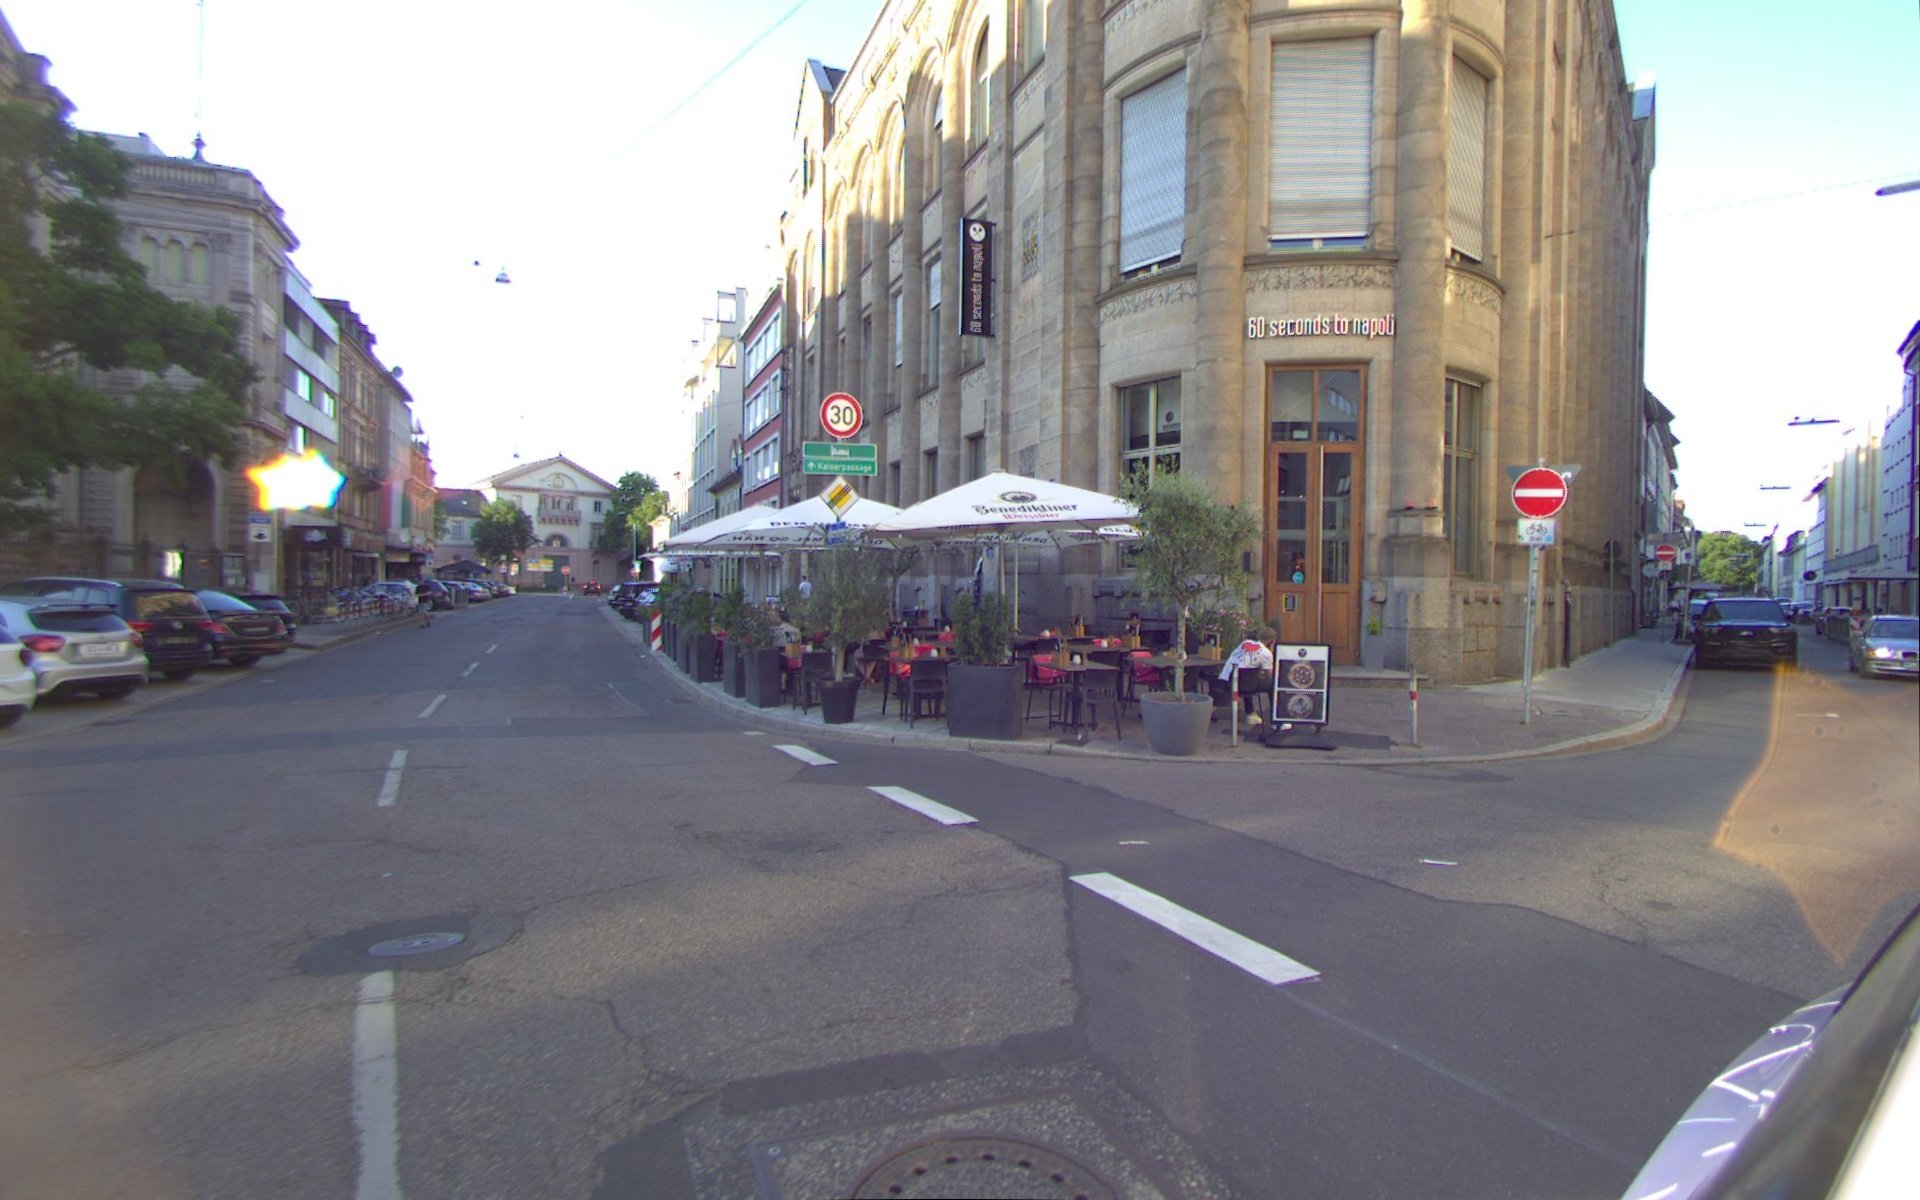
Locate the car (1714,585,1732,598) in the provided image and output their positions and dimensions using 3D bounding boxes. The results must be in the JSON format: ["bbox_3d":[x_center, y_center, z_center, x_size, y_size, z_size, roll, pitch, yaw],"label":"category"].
[{"bbox_3d":[111.037,-1.258,147.296,1.989,1.919,4.399,1,1,37],"label":"car"}]

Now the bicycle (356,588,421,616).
[{"bbox_3d":[-23.213,0.071,41.146,2.254,1.104,0.718,0,1,-25],"label":"bicycle"}]

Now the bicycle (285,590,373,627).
[{"bbox_3d":[-19.680,0.256,31.602,2.254,1.104,0.718,0,1,-25],"label":"bicycle"}]

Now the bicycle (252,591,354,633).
[{"bbox_3d":[-18.108,0.326,27.955,2.254,1.104,0.718,0,1,-25],"label":"bicycle"}]

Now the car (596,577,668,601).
[{"bbox_3d":[-20.223,-0.713,62.575,1.744,1.430,4.025,1,1,36],"label":"car"}]

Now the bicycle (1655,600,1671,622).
[{"bbox_3d":[36.052,0.551,51.878,0.518,1.103,1.729,6,4,37],"label":"bicycle"}]

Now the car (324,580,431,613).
[{"bbox_3d":[-26.054,-0.201,45.409,3.916,1.430,1.759,0,1,-20],"label":"car"}]

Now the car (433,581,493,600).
[{"bbox_3d":[-37.359,-0.736,76.192,3.916,1.430,1.759,0,1,-20],"label":"car"}]

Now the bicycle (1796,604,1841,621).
[{"bbox_3d":[62.548,0.908,73.759,2.475,1.193,0.772,1,1,44],"label":"bicycle"}]

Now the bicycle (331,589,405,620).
[{"bbox_3d":[-21.706,0.148,37.156,2.254,1.104,0.718,0,1,-25],"label":"bicycle"}]

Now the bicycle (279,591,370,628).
[{"bbox_3d":[-19.272,0.272,30.744,2.254,1.104,0.718,0,1,-25],"label":"bicycle"}]

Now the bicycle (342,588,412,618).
[{"bbox_3d":[-22.523,0.110,39.147,2.254,1.104,0.718,0,1,-25],"label":"bicycle"}]

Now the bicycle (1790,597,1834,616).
[{"bbox_3d":[64.104,0.461,76.132,2.475,1.347,0.772,1,1,44],"label":"bicycle"}]

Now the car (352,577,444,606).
[{"bbox_3d":[-28.992,-0.457,52.325,3.916,1.430,1.759,0,1,-20],"label":"car"}]

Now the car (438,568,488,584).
[{"bbox_3d":[-56.582,-2.724,115.283,4.785,1.757,1.753,-1,1,-39],"label":"car"}]

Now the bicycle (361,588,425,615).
[{"bbox_3d":[-23.558,0.052,42.113,2.254,1.104,0.718,0,1,-25],"label":"bicycle"}]

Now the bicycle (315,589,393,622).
[{"bbox_3d":[-21.045,0.186,35.192,2.254,1.104,0.718,0,1,-25],"label":"bicycle"}]

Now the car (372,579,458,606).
[{"bbox_3d":[-29.833,-0.420,55.506,3.916,1.430,1.759,0,1,-20],"label":"car"}]

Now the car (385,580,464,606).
[{"bbox_3d":[-31.298,-0.427,59.257,3.916,1.430,1.759,0,1,-20],"label":"car"}]

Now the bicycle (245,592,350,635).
[{"bbox_3d":[-17.761,0.341,27.192,2.254,1.104,0.718,0,1,-25],"label":"bicycle"}]

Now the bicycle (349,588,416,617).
[{"bbox_3d":[-22.935,0.088,40.252,2.254,1.104,0.718,0,1,-25],"label":"bicycle"}]

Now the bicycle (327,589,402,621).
[{"bbox_3d":[-21.364,0.164,36.331,2.254,1.104,0.718,0,1,-25],"label":"bicycle"}]

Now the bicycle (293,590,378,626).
[{"bbox_3d":[-19.998,0.239,32.474,2.254,1.104,0.718,0,1,-25],"label":"bicycle"}]

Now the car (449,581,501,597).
[{"bbox_3d":[-42.080,-0.964,87.945,3.916,1.430,1.759,0,1,-20],"label":"car"}]

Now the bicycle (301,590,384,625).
[{"bbox_3d":[-20.319,0.222,33.350,2.254,1.104,0.718,0,1,-25],"label":"bicycle"}]

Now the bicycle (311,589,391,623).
[{"bbox_3d":[-20.689,0.201,34.411,2.254,1.104,0.718,0,1,-25],"label":"bicycle"}]

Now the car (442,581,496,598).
[{"bbox_3d":[-41.196,-0.907,85.014,3.916,1.430,1.759,0,1,-20],"label":"car"}]

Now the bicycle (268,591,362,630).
[{"bbox_3d":[-18.955,0.291,29.787,2.254,1.104,0.718,0,1,-25],"label":"bicycle"}]

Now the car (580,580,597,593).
[{"bbox_3d":[-41.838,-1.498,114.135,1.718,1.430,4.009,0,1,-19],"label":"car"}]

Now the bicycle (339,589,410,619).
[{"bbox_3d":[-22.157,0.125,38.354,2.254,1.104,0.718,0,1,-25],"label":"bicycle"}]

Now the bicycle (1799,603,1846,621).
[{"bbox_3d":[60.163,0.824,70.618,2.475,1.193,0.772,1,1,44],"label":"bicycle"}]

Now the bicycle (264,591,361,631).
[{"bbox_3d":[-18.518,0.306,29.011,2.254,1.104,0.718,0,1,-25],"label":"bicycle"}]
